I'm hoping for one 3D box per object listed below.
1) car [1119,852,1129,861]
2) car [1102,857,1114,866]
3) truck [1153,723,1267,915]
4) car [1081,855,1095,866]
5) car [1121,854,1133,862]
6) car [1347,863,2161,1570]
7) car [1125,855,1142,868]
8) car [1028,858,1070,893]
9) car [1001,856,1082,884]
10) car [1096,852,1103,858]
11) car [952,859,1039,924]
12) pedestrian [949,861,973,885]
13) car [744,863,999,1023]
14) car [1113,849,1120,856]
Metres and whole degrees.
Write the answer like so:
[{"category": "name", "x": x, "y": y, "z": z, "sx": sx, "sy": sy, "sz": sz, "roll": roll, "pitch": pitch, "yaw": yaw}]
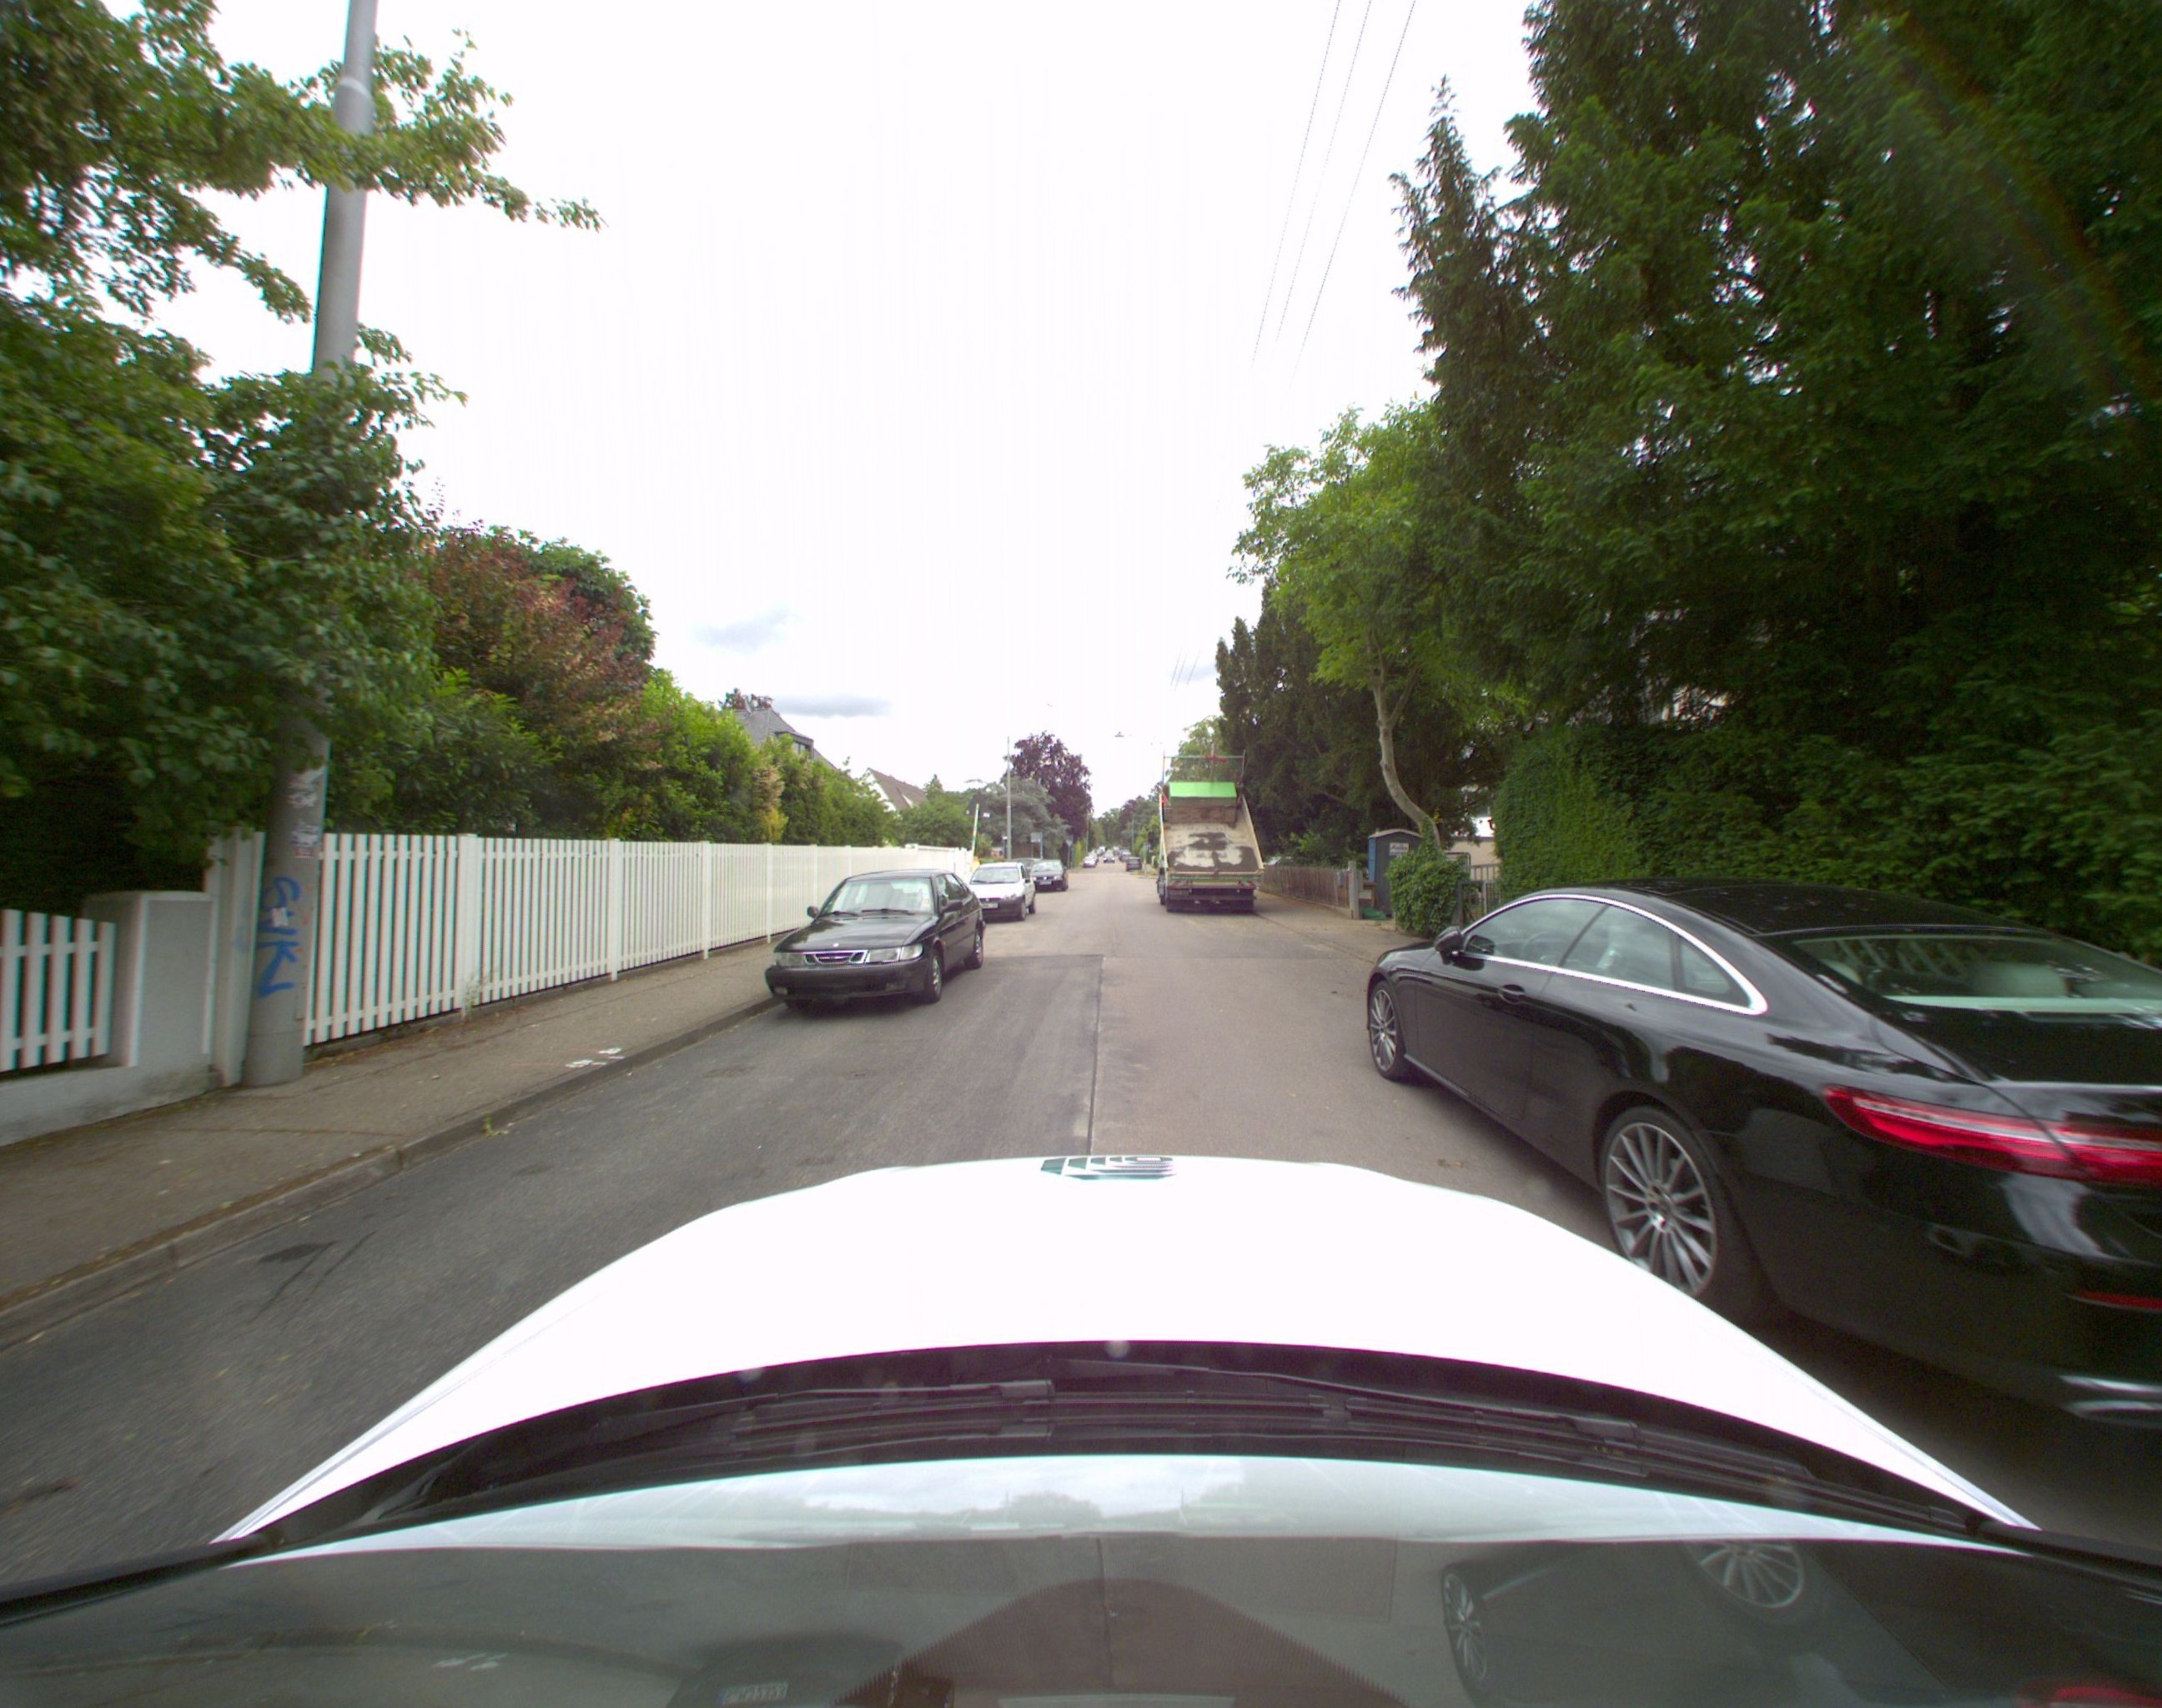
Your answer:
[{"category": "car", "x": 7.773, "y": 0.480, "z": 145.950, "sx": 1.782, "sy": 1.529, "sz": 3.737, "roll": 0, "pitch": 0, "yaw": 3}, {"category": "car", "x": 4.480, "y": 1.241, "z": 134.690, "sx": 1.719, "sy": 1.407, "sz": 3.810, "roll": -1, "pitch": 0, "yaw": 6}, {"category": "truck", "x": 3.507, "y": -0.857, "z": 23.741, "sx": 2.514, "sy": 4.748, "sz": 7.192, "roll": 0, "pitch": 0, "yaw": 3}, {"category": "car", "x": 1.001, "y": 0.901, "z": 113.456, "sx": 1.703, "sy": 1.586, "sz": 4.005, "roll": 0, "pitch": 0, "yaw": 5}, {"category": "car", "x": 7.769, "y": 0.653, "z": 137.105, "sx": 1.804, "sy": 1.335, "sz": 3.633, "roll": 1, "pitch": 1, "yaw": 1}, {"category": "car", "x": 2.800, "y": 0.777, "z": 4.003, "sx": 1.645, "sy": 1.424, "sz": 4.663, "roll": 0, "pitch": 0, "yaw": 2}, {"category": "car", "x": 6.036, "y": 0.877, "z": 93.500, "sx": 1.772, "sy": 1.489, "sz": 4.001, "roll": 0, "pitch": 0, "yaw": 1}, {"category": "car", "x": -1.419, "y": 0.933, "z": 37.182, "sx": 1.631, "sy": 1.395, "sz": 3.989, "roll": -3, "pitch": 0, "yaw": 1}, {"category": "car", "x": -2.118, "y": 0.842, "z": 44.125, "sx": 3.955, "sy": 1.444, "sz": 1.835, "roll": 0, "pitch": 0, "yaw": 18}, {"category": "car", "x": 4.589, "y": 0.204, "z": 201.971, "sx": 1.620, "sy": 1.386, "sz": 3.599, "roll": 1, "pitch": 0, "yaw": 1}, {"category": "car", "x": -2.103, "y": 0.895, "z": 21.036, "sx": 1.589, "sy": 1.433, "sz": 4.003, "roll": -2, "pitch": 0, "yaw": 3}, {"category": "pedestrian", "x": -6.364, "y": 1.012, "z": 43.104, "sx": 0.954, "sy": 1.225, "sz": 0.827, "roll": 1, "pitch": -2, "yaw": -40}, {"category": "car", "x": -2.251, "y": 0.888, "z": 10.101, "sx": 1.633, "sy": 1.422, "sz": 4.554, "roll": -3, "pitch": 0, "yaw": 4}, {"category": "car", "x": 9.177, "y": -0.440, "z": 210.271, "sx": 1.628, "sy": 1.701, "sz": 3.495, "roll": 0, "pitch": 0, "yaw": 1}]
